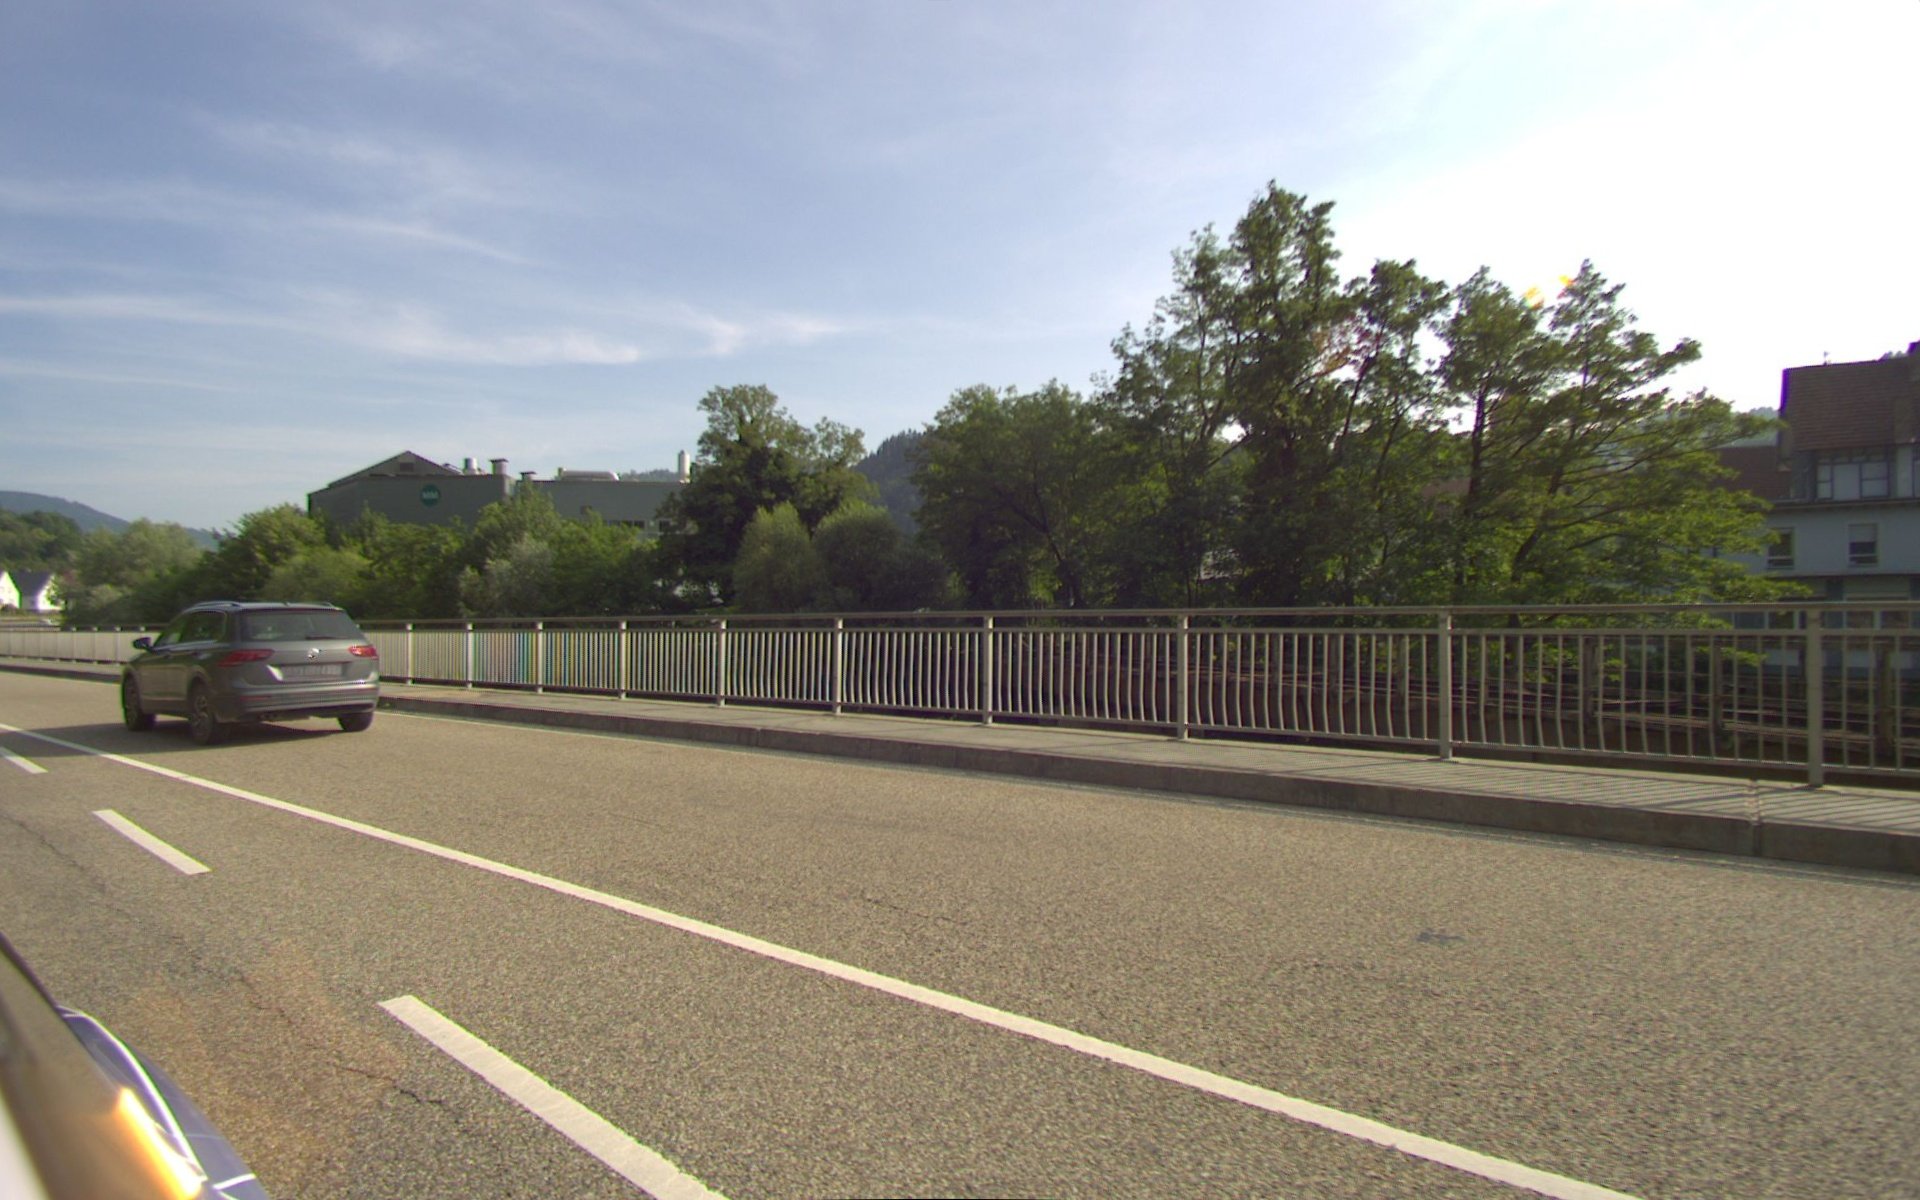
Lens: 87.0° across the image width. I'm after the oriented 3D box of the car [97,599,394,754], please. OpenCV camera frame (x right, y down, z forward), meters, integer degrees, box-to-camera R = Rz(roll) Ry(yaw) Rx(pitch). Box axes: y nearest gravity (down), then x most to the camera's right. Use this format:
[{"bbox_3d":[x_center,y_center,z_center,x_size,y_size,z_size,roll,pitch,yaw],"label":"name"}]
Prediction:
[{"bbox_3d":[-9.267,0.873,12.991,4.604,1.659,1.800,-1,-1,37],"label":"car"}]
